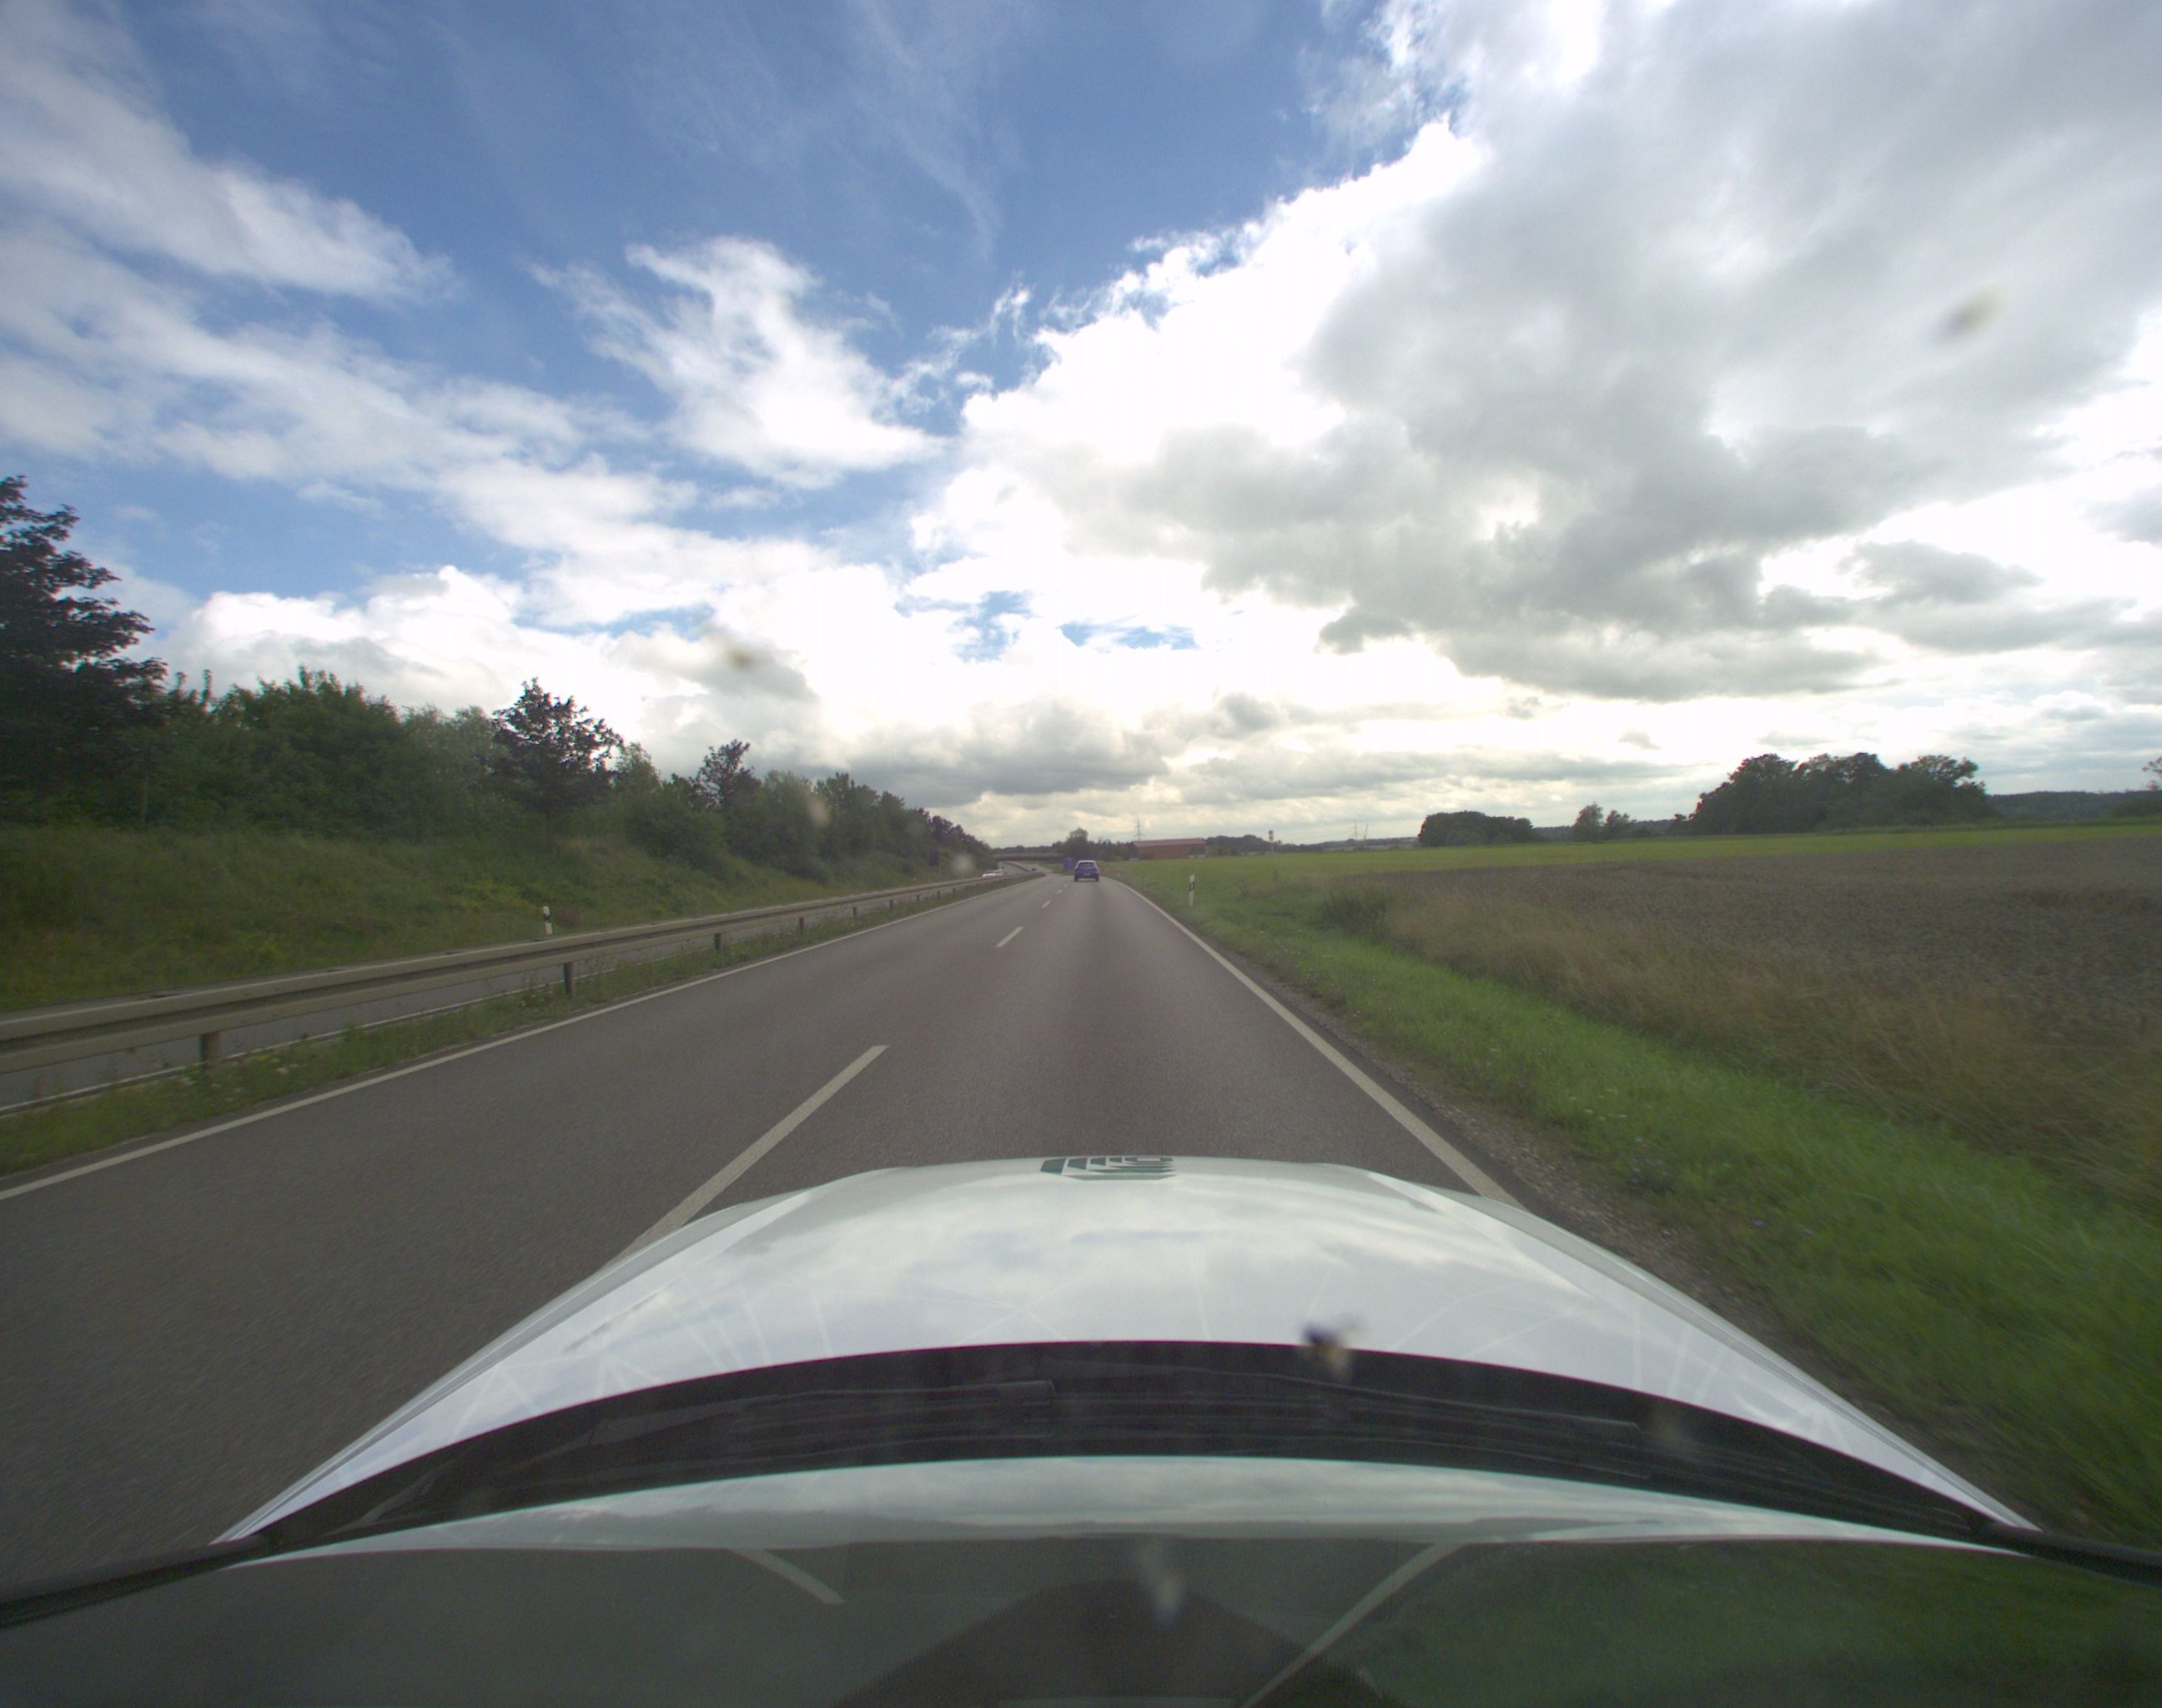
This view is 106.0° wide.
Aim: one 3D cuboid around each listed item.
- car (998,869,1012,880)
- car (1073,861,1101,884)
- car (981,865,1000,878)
[{"bbox_3d":[-12.529,3.390,135.188,1.915,1.518,4.461,-3,1,-1],"label":"car"},{"bbox_3d":[0.500,1.428,64.421,2.025,1.660,4.546,-1,0,3],"label":"car"},{"bbox_3d":[-12.824,2.446,115.729,1.987,1.518,4.987,-3,1,0],"label":"car"}]
